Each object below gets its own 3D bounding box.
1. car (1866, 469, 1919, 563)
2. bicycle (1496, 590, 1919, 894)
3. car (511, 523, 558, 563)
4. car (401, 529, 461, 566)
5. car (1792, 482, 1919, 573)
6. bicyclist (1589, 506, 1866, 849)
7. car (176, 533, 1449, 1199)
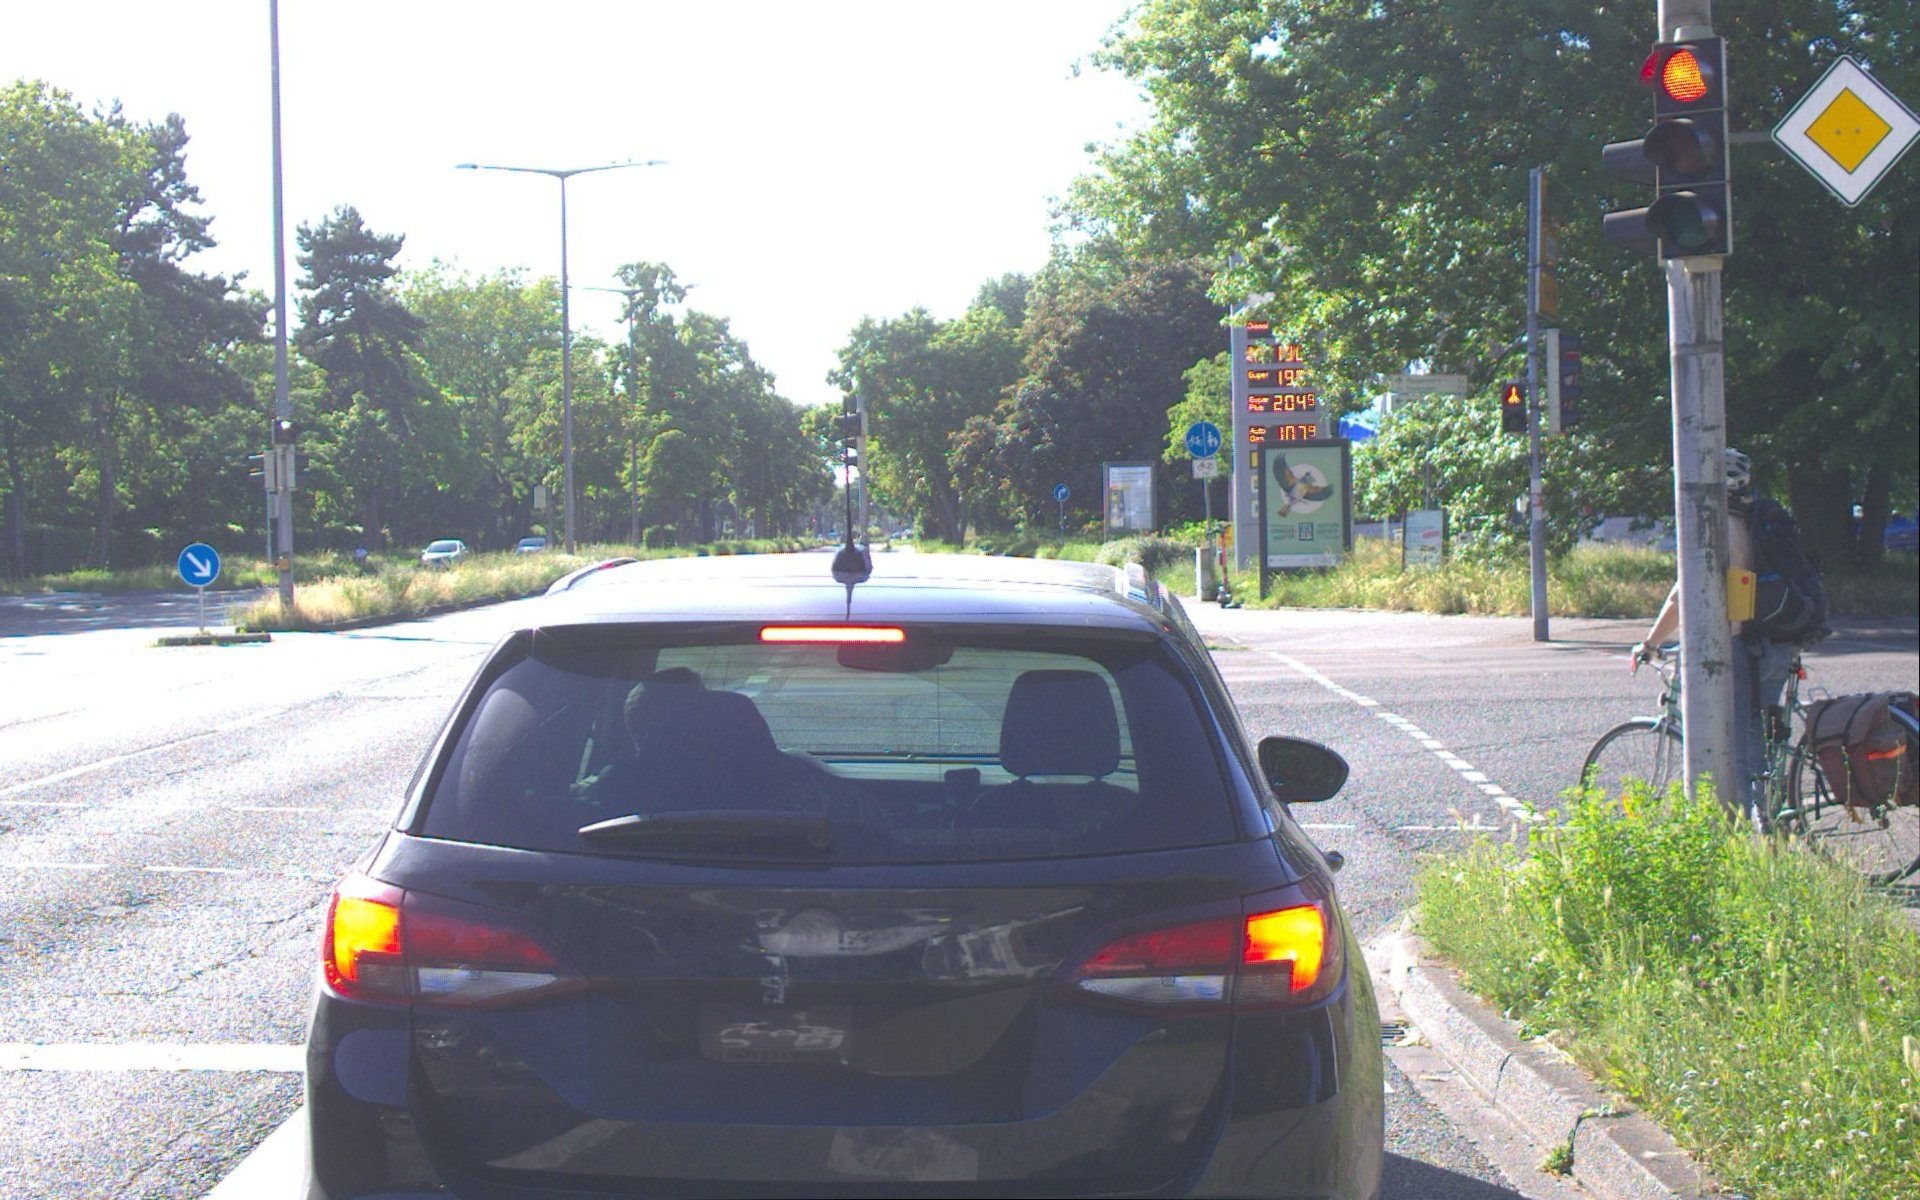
[{"bbox_3d":[17.098,-1.428,56.727,3.887,1.512,1.746,-2,1,-23],"label":"car"},{"bbox_3d":[2.983,0.546,13.345,0.536,1.094,1.775,-3,0,-44],"label":"bicycle"},{"bbox_3d":[-22.413,-3.020,181.313,1.993,2.007,4.000,-2,1,-1],"label":"car"},{"bbox_3d":[-22.743,-2.271,147.980,1.993,1.525,4.000,-2,1,-1],"label":"car"},{"bbox_3d":[16.622,-1.287,59.813,3.887,1.512,1.746,-2,1,-23],"label":"car"},{"bbox_3d":[2.973,0.301,13.341,0.536,1.272,0.829,-3,0,-44],"label":"bicyclist"},{"bbox_3d":[-0.228,0.631,6.858,1.756,1.490,4.207,0,1,-1],"label":"car"}]
